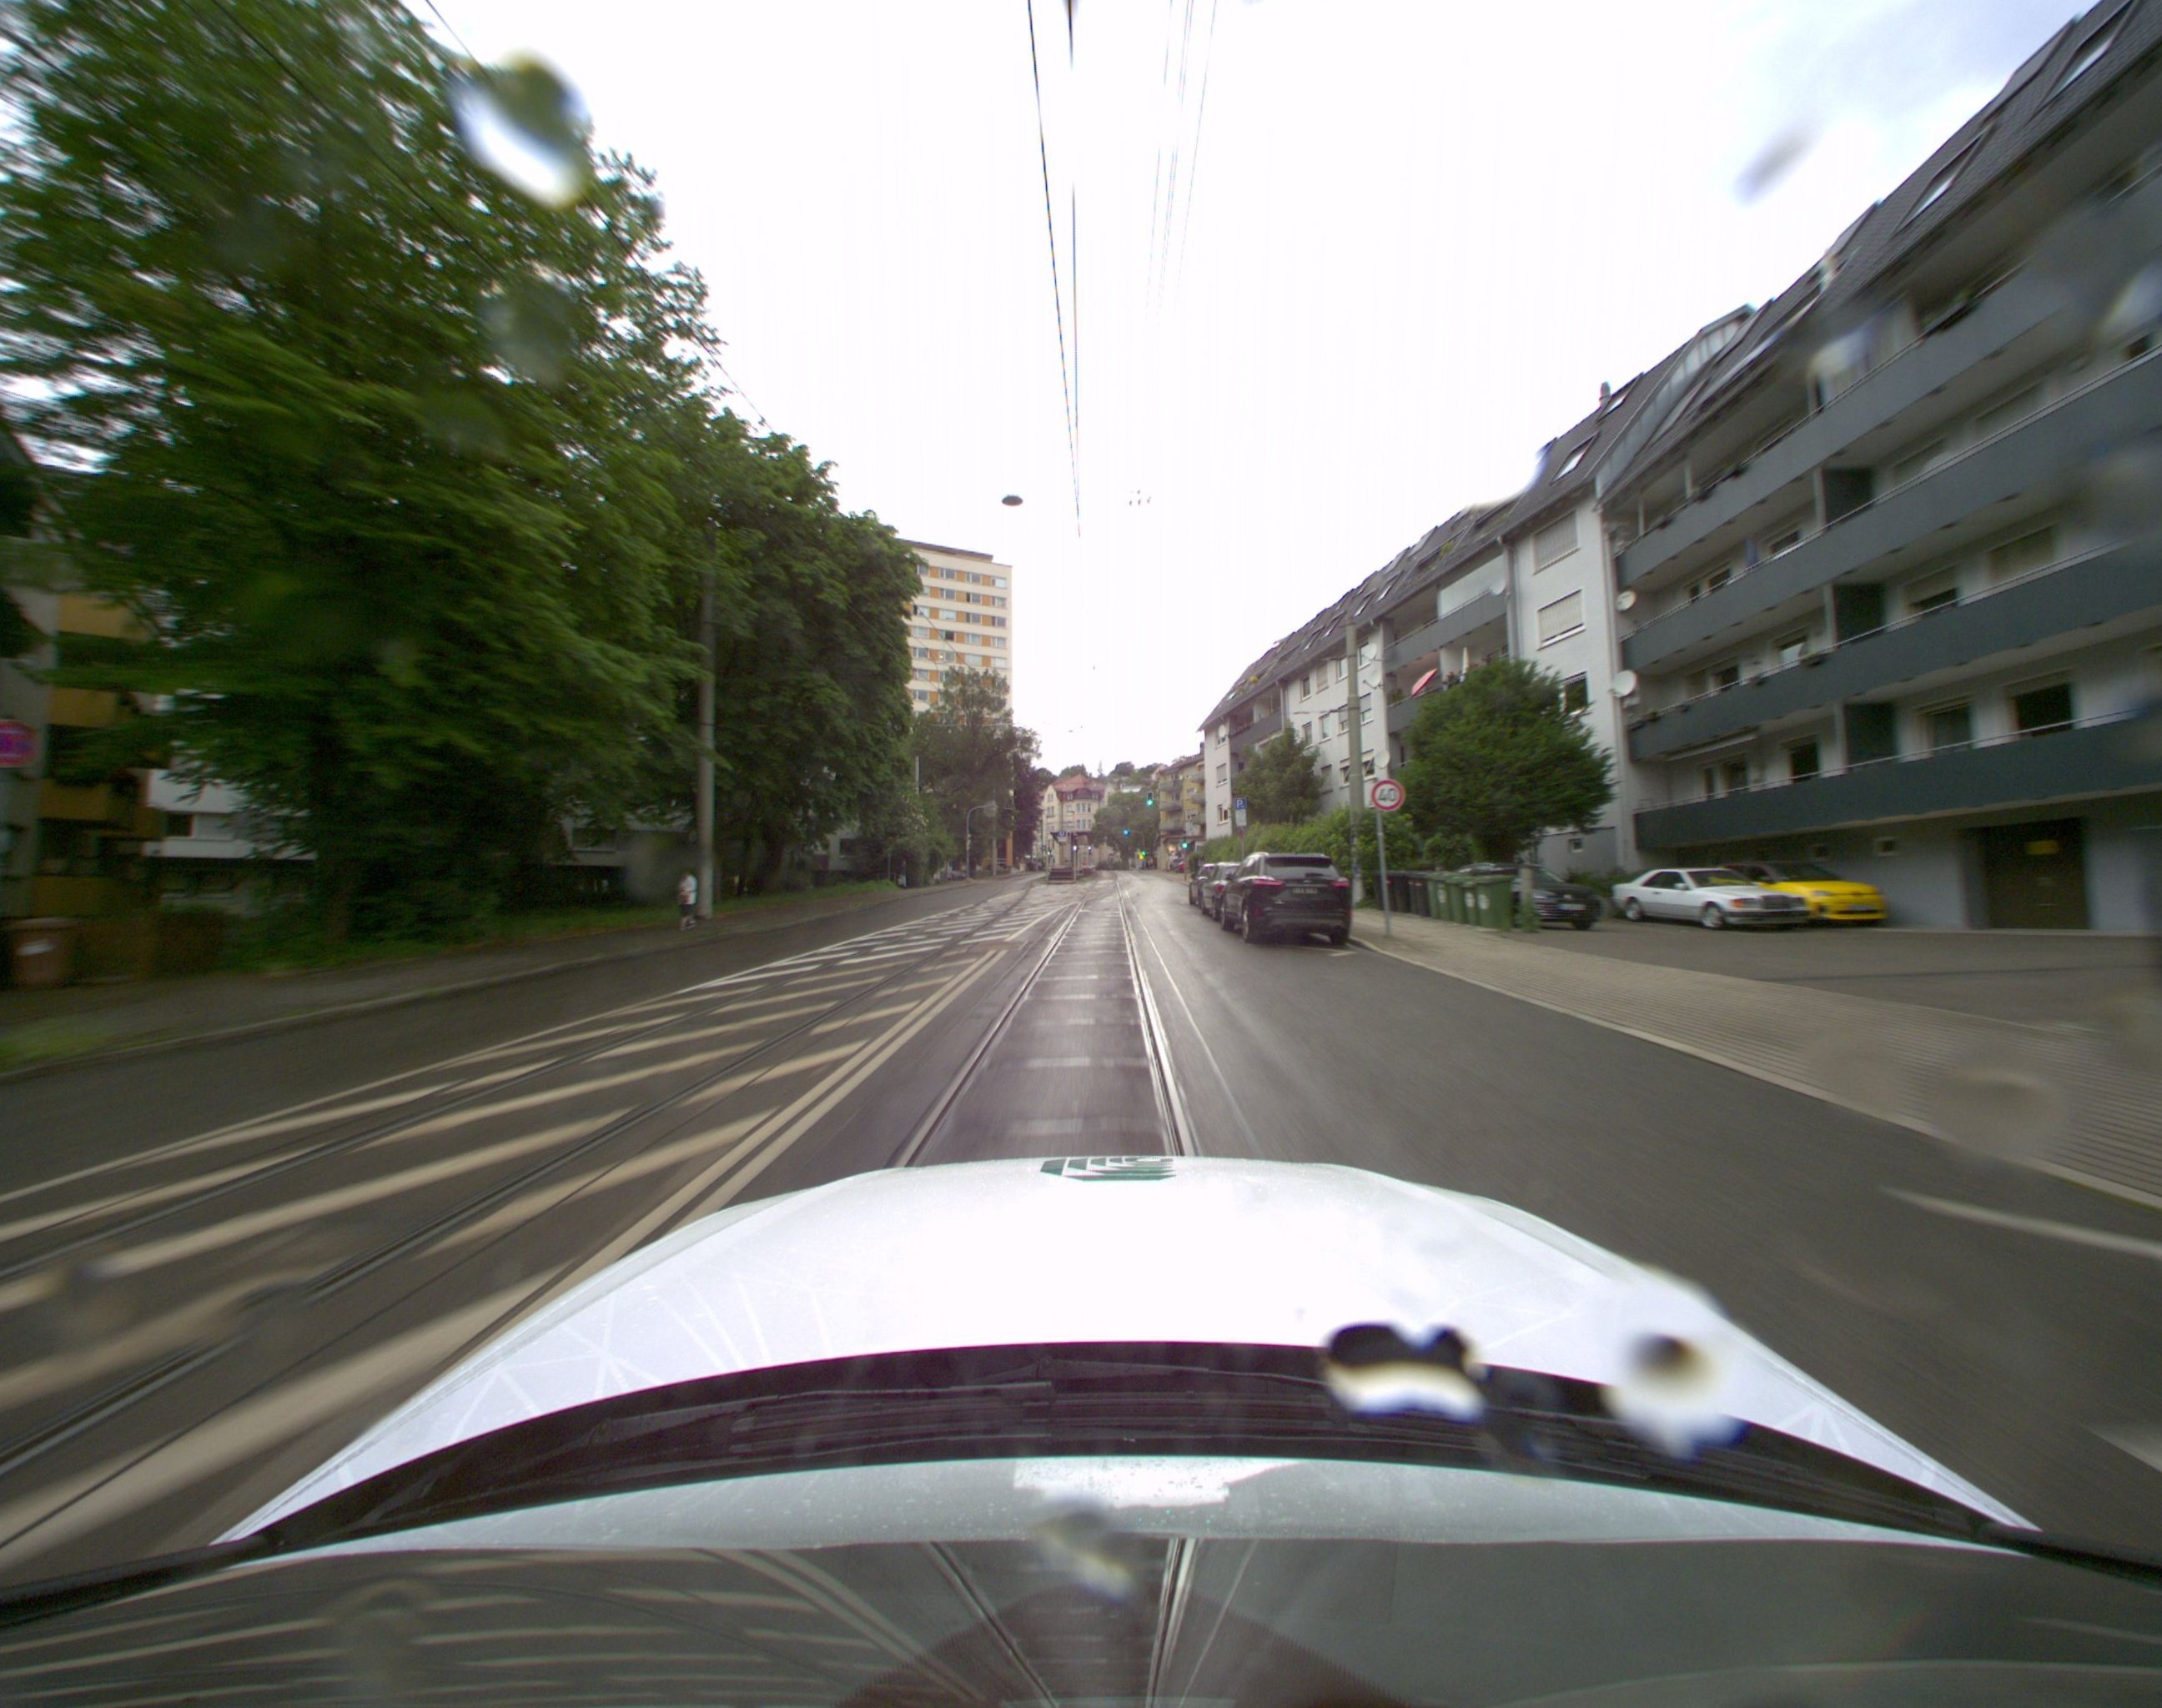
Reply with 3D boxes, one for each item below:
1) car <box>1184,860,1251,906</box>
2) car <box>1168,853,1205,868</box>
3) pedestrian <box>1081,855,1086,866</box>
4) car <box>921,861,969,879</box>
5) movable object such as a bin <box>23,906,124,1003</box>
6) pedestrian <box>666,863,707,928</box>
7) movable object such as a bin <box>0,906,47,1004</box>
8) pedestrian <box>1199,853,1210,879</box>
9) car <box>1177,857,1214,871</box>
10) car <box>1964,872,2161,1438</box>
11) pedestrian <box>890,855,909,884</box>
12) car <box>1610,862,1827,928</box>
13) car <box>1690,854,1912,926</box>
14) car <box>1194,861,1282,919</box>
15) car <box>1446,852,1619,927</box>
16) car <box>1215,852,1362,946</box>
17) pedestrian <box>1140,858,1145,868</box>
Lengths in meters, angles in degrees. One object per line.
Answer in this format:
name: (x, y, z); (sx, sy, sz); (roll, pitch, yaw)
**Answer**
car: (4.518, 0.925, 27.475); (1.698, 1.426, 3.863); (0, -1, 1)
car: (12.026, 0.742, 93.093); (3.973, 1.646, 1.808); (0, -3, 1)
pedestrian: (0.359, 0.855, 112.976); (0.654, 1.467, 0.773); (0, -4, 4)
car: (-12.130, 1.420, 72.642); (3.951, 1.406, 1.692); (-2, -5, 24)
movable object such as a bin: (-13.410, 1.312, 10.868); (0.670, 1.234, 0.619); (4, -6, -40)
pedestrian: (-9.974, 1.044, 20.611); (0.581, 1.600, 0.868); (1, -2, -2)
movable object such as a bin: (-13.872, 1.279, 10.378); (0.670, 1.234, 0.619); (4, -6, -40)
pedestrian: (7.630, 0.743, 50.293); (0.641, 1.629, 0.700); (-1, -2, 5)
car: (12.592, 1.094, 89.365); (3.829, 1.543, 1.807); (0, -3, 0)
car: (3.567, 0.756, 0.486); (1.698, 1.433, 4.102); (0, -1, 1)
pedestrian: (-10.833, 0.934, 48.720); (0.912, 1.678, 0.741); (0, -4, 2)
car: (14.881, 0.900, 19.392); (1.770, 1.379, 4.431); (-1, -1, 2)
car: (17.038, 0.802, 19.604); (1.678, 1.521, 4.205); (-1, -1, 2)
car: (4.196, 0.916, 22.355); (1.698, 1.428, 4.251); (0, -1, 1)
car: (10.130, 0.869, 18.690); (1.714, 1.515, 4.204); (0, -4, 2)
car: (4.011, 0.807, 16.581); (1.899, 1.642, 4.690); (0, -1, 1)
pedestrian: (9.018, 1.281, 119.770); (0.577, 1.467, 0.542); (0, -4, -6)
